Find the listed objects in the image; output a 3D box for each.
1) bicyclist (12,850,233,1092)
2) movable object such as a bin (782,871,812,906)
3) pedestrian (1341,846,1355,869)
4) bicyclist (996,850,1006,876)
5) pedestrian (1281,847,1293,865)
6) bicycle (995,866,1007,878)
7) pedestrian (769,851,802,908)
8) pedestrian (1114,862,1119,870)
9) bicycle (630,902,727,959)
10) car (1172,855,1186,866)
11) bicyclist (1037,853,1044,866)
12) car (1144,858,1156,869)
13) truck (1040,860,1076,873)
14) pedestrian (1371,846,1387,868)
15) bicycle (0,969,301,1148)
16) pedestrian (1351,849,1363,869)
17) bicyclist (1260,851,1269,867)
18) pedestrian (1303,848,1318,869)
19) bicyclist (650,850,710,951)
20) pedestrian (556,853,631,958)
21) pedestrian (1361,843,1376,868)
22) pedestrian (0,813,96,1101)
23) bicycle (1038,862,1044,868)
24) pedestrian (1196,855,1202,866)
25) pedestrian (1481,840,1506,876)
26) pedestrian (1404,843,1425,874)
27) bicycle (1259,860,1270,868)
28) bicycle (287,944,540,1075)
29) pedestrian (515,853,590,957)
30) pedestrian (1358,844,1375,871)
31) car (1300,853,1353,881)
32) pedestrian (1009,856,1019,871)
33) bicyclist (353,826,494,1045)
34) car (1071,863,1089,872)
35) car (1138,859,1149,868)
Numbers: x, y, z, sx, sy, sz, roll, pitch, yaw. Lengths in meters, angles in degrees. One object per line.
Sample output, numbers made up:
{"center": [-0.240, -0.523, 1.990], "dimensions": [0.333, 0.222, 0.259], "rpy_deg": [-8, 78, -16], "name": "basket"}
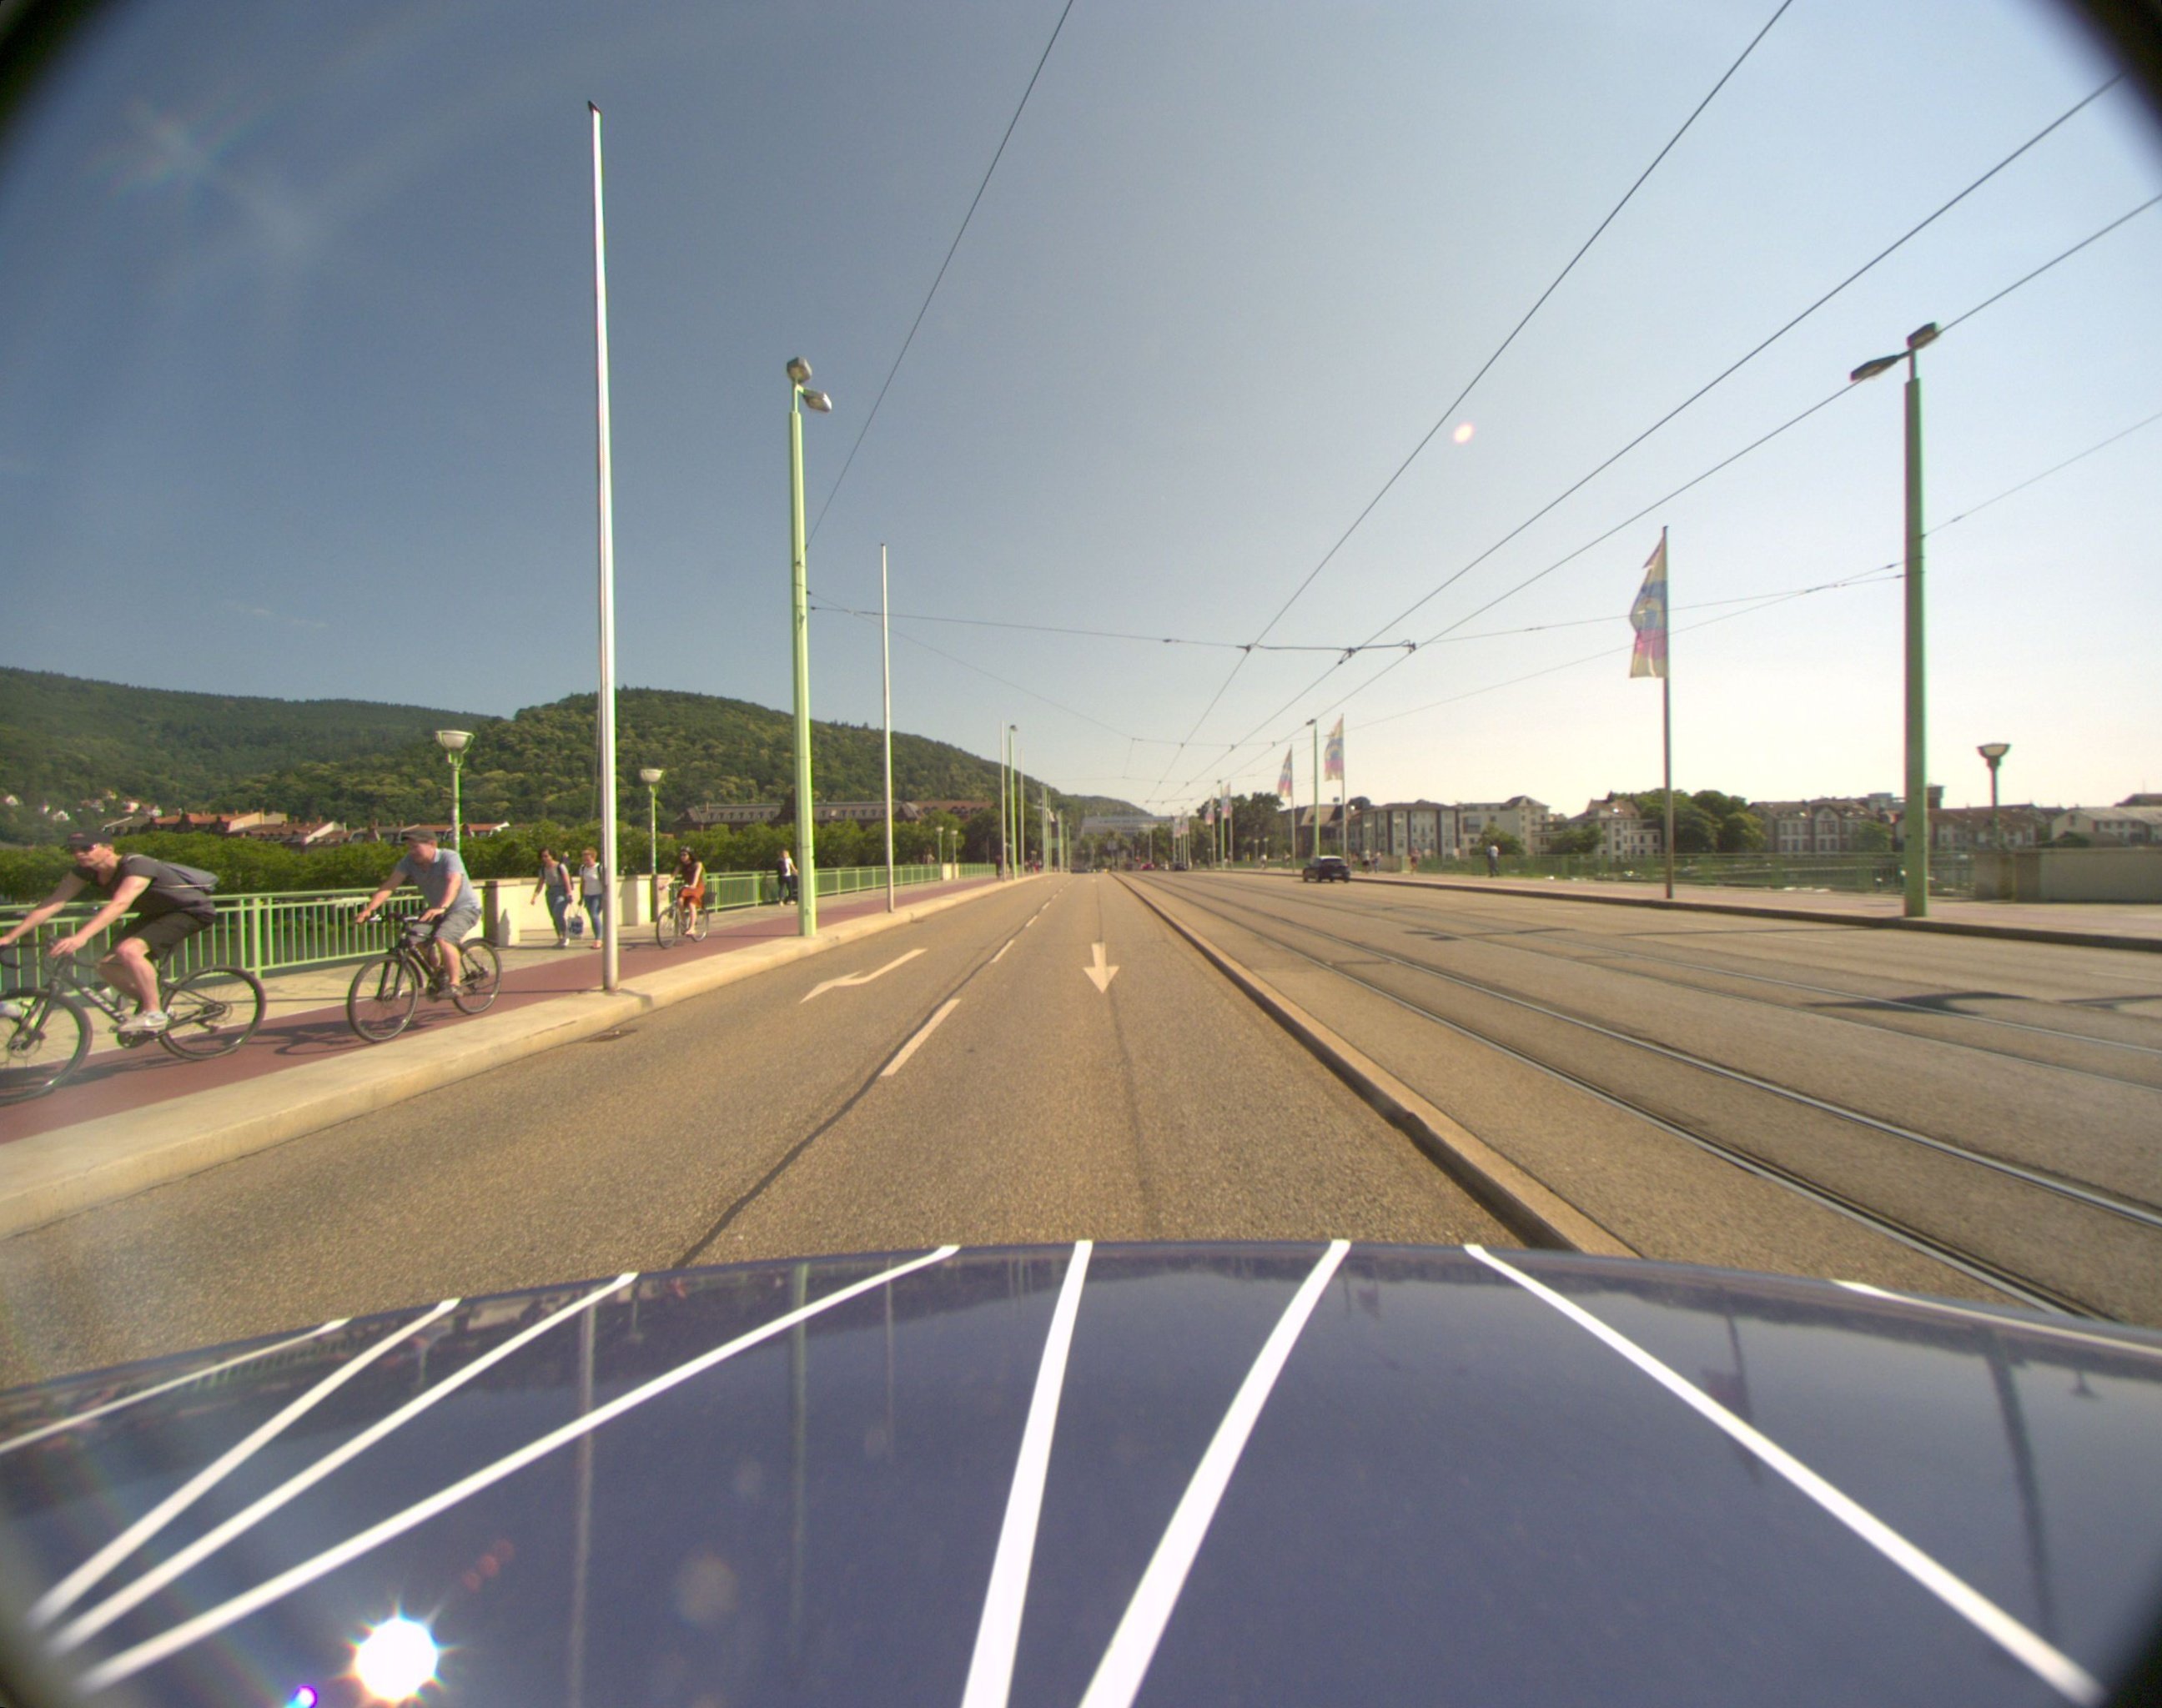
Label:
{"center": [-6.512, 0.748, 5.205], "dimensions": [0.588, 1.550, 0.702], "rpy_deg": [0, 1, -1], "name": "bicyclist"}
{"center": [-9.030, 1.084, 24.144], "dimensions": [0.583, 1.084, 0.933], "rpy_deg": [0, 1, 0], "name": "movable object such as a bin"}
{"center": [19.435, 0.261, 55.285], "dimensions": [0.627, 1.590, 1.022], "rpy_deg": [-3, 1, 1], "name": "pedestrian"}
{"center": [-5.598, 0.619, 53.123], "dimensions": [0.587, 1.759, 0.672], "rpy_deg": [0, 1, 2], "name": "bicyclist"}
{"center": [20.757, 0.185, 76.521], "dimensions": [0.787, 1.690, 1.022], "rpy_deg": [-4, 1, 1], "name": "pedestrian"}
{"center": [-5.594, 1.229, 53.118], "dimensions": [0.595, 0.761, 1.866], "rpy_deg": [0, 0, 1], "name": "bicycle"}
{"center": [-9.060, 0.764, 23.314], "dimensions": [0.664, 1.696, 0.859], "rpy_deg": [0, 1, 1], "name": "pedestrian"}
{"center": [9.552, 3.266, 204.623], "dimensions": [1.035, 2.002, 1.202], "rpy_deg": [-3, 2, -5], "name": "pedestrian"}
{"center": [-6.733, 1.257, 12.809], "dimensions": [0.595, 0.761, 1.866], "rpy_deg": [0, 0, 1], "name": "bicycle"}
{"center": [14.602, 0.972, 113.028], "dimensions": [1.672, 1.428, 4.000], "rpy_deg": [-1, 1, 2], "name": "car"}
{"center": [-5.324, 0.725, 100.160], "dimensions": [0.731, 1.655, 0.844], "rpy_deg": [-2, 1, 2], "name": "bicyclist"}
{"center": [12.681, 1.718, 139.612], "dimensions": [1.714, 1.686, 4.000], "rpy_deg": [-5, 0, 2], "name": "car"}
{"center": [-5.198, 2.824, 173.365], "dimensions": [7.683, 2.248, 2.662], "rpy_deg": [-5, 0, 5], "name": "truck"}
{"center": [19.480, 0.199, 49.638], "dimensions": [0.592, 1.406, 1.022], "rpy_deg": [-3, 1, 1], "name": "pedestrian"}
{"center": [-6.505, 1.300, 5.136], "dimensions": [0.595, 0.761, 1.831], "rpy_deg": [0, 0, -1], "name": "bicycle"}
{"center": [20.023, 0.361, 55.175], "dimensions": [0.547, 1.429, 0.789], "rpy_deg": [-3, 1, 1], "name": "pedestrian"}
{"center": [18.096, 0.484, 75.003], "dimensions": [0.666, 1.641, 0.622], "rpy_deg": [-1, 1, 2], "name": "bicyclist"}
{"center": [18.804, 0.348, 62.222], "dimensions": [0.787, 1.690, 1.022], "rpy_deg": [-4, 1, 1], "name": "pedestrian"}
{"center": [-6.734, 0.759, 12.778], "dimensions": [0.606, 1.641, 0.702], "rpy_deg": [0, 1, 2], "name": "bicyclist"}
{"center": [-7.928, 0.808, 12.383], "dimensions": [0.664, 1.649, 0.825], "rpy_deg": [0, 1, 1], "name": "pedestrian"}
{"center": [20.680, 0.102, 54.610], "dimensions": [0.592, 1.690, 1.022], "rpy_deg": [-3, 1, 1], "name": "pedestrian"}
{"center": [-7.588, 0.686, 4.957], "dimensions": [0.813, 1.913, 1.127], "rpy_deg": [0, 1, 1], "name": "pedestrian"}
{"center": [-5.286, 1.416, 100.217], "dimensions": [0.595, 0.761, 1.866], "rpy_deg": [-1, 0, 1], "name": "bicycle"}
{"center": [19.628, 1.061, 126.219], "dimensions": [0.787, 1.690, 1.022], "rpy_deg": [-4, 1, 1], "name": "pedestrian"}
{"center": [20.174, 0.197, 37.156], "dimensions": [0.592, 1.690, 1.022], "rpy_deg": [-3, 1, 1], "name": "pedestrian"}
{"center": [18.738, 0.257, 42.737], "dimensions": [0.686, 1.681, 1.022], "rpy_deg": [-3, 1, 1], "name": "pedestrian"}
{"center": [18.107, 1.014, 75.044], "dimensions": [0.667, 0.712, 2.173], "rpy_deg": [-1, 0, 1], "name": "bicycle"}
{"center": [-5.704, 1.282, 6.669], "dimensions": [0.595, 0.761, 1.866], "rpy_deg": [0, 0, -1], "name": "bicycle"}
{"center": [-8.598, 0.811, 12.392], "dimensions": [0.669, 1.649, 0.746], "rpy_deg": [0, 1, 1], "name": "pedestrian"}
{"center": [18.868, 0.218, 50.183], "dimensions": [0.671, 1.690, 1.022], "rpy_deg": [-3, 1, 1], "name": "pedestrian"}
{"center": [13.430, 0.673, 41.770], "dimensions": [1.720, 1.446, 3.901], "rpy_deg": [0, 0, 1], "name": "car"}
{"center": [-7.516, 1.015, 85.428], "dimensions": [0.949, 1.653, 1.082], "rpy_deg": [1, 1, 1], "name": "pedestrian"}
{"center": [-5.706, 0.676, 6.633], "dimensions": [0.588, 1.809, 0.702], "rpy_deg": [0, 1, -1], "name": "bicyclist"}
{"center": [-0.251, 3.213, 185.454], "dimensions": [3.998, 2.002, 1.999], "rpy_deg": [-3, 2, -3], "name": "car"}
{"center": [12.413, 1.900, 151.047], "dimensions": [1.814, 1.611, 4.000], "rpy_deg": [-5, 0, 2], "name": "car"}
